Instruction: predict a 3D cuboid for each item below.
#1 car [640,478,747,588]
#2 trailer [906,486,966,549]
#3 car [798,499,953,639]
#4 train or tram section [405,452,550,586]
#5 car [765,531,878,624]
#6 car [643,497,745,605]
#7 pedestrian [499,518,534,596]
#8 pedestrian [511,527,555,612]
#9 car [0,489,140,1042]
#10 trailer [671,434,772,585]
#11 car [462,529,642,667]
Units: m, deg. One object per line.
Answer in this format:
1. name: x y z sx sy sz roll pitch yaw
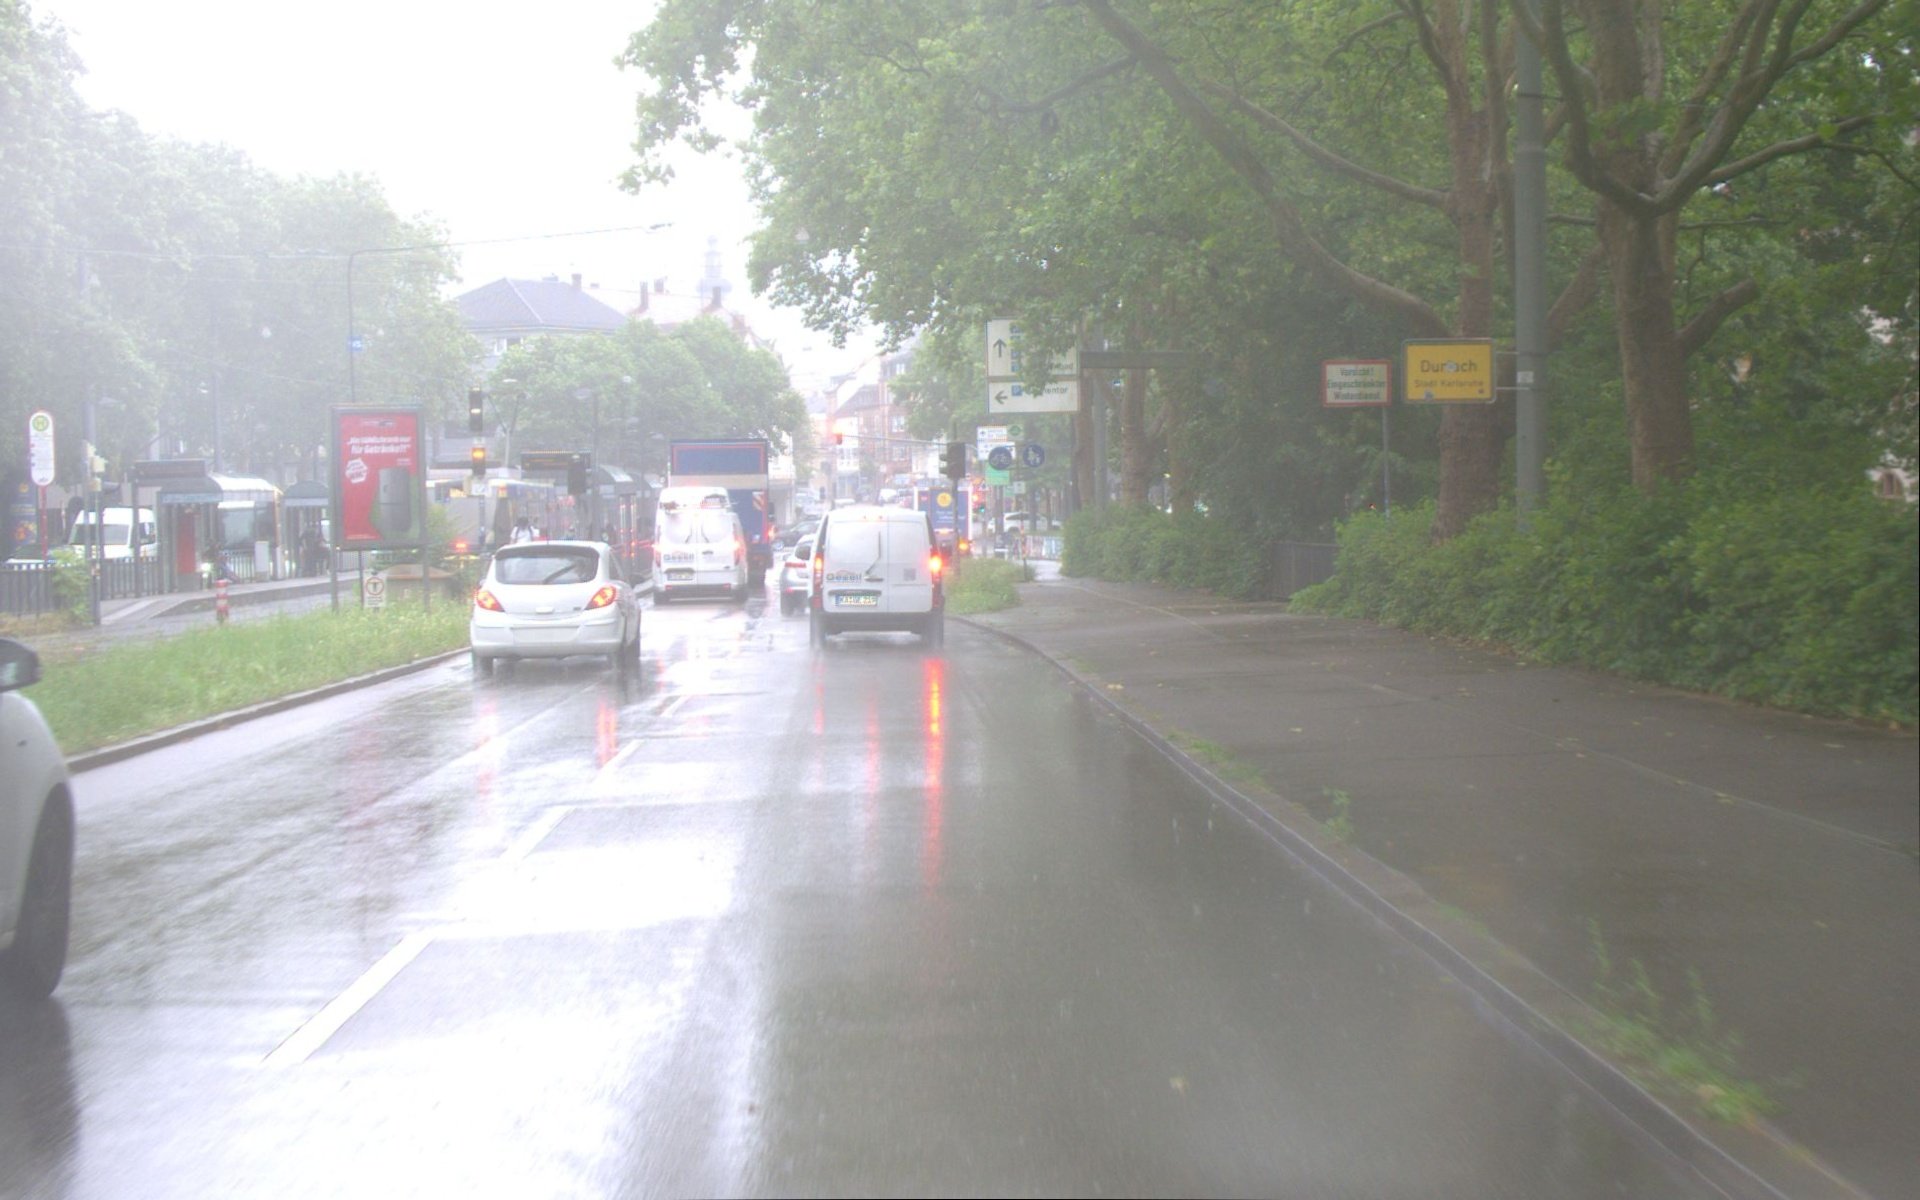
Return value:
1. car: -6.425 -1.586 83.373 2.329 2.548 6.115 0 0 -2
2. trailer: -0.938 -3.102 130.407 1.993 2.309 4.669 0 0 -4
3. car: -1.145 -0.410 45.472 1.959 1.771 3.570 0 0 -2
4. train or tram section: -12.672 -2.201 90.960 2.961 3.274 8.362 -2 2 -3
5. car: -2.450 -0.401 61.567 1.908 1.612 4.000 0 0 -1
6. car: -5.759 -1.045 74.894 1.993 2.254 5.289 0 0 -2
7. pedestrian: -9.998 -0.970 77.514 0.715 1.738 0.751 -1 1 -3
8. pedestrian: -8.729 -0.619 70.325 0.790 1.708 0.771 1 0 -3
9. car: -3.742 0.492 9.627 1.864 1.618 4.263 0 1 0
10. trailer: -6.370 -2.437 92.528 2.590 3.886 7.637 0 1 -3
11. car: -4.554 -0.033 38.815 1.725 1.474 3.806 0 0 -2
